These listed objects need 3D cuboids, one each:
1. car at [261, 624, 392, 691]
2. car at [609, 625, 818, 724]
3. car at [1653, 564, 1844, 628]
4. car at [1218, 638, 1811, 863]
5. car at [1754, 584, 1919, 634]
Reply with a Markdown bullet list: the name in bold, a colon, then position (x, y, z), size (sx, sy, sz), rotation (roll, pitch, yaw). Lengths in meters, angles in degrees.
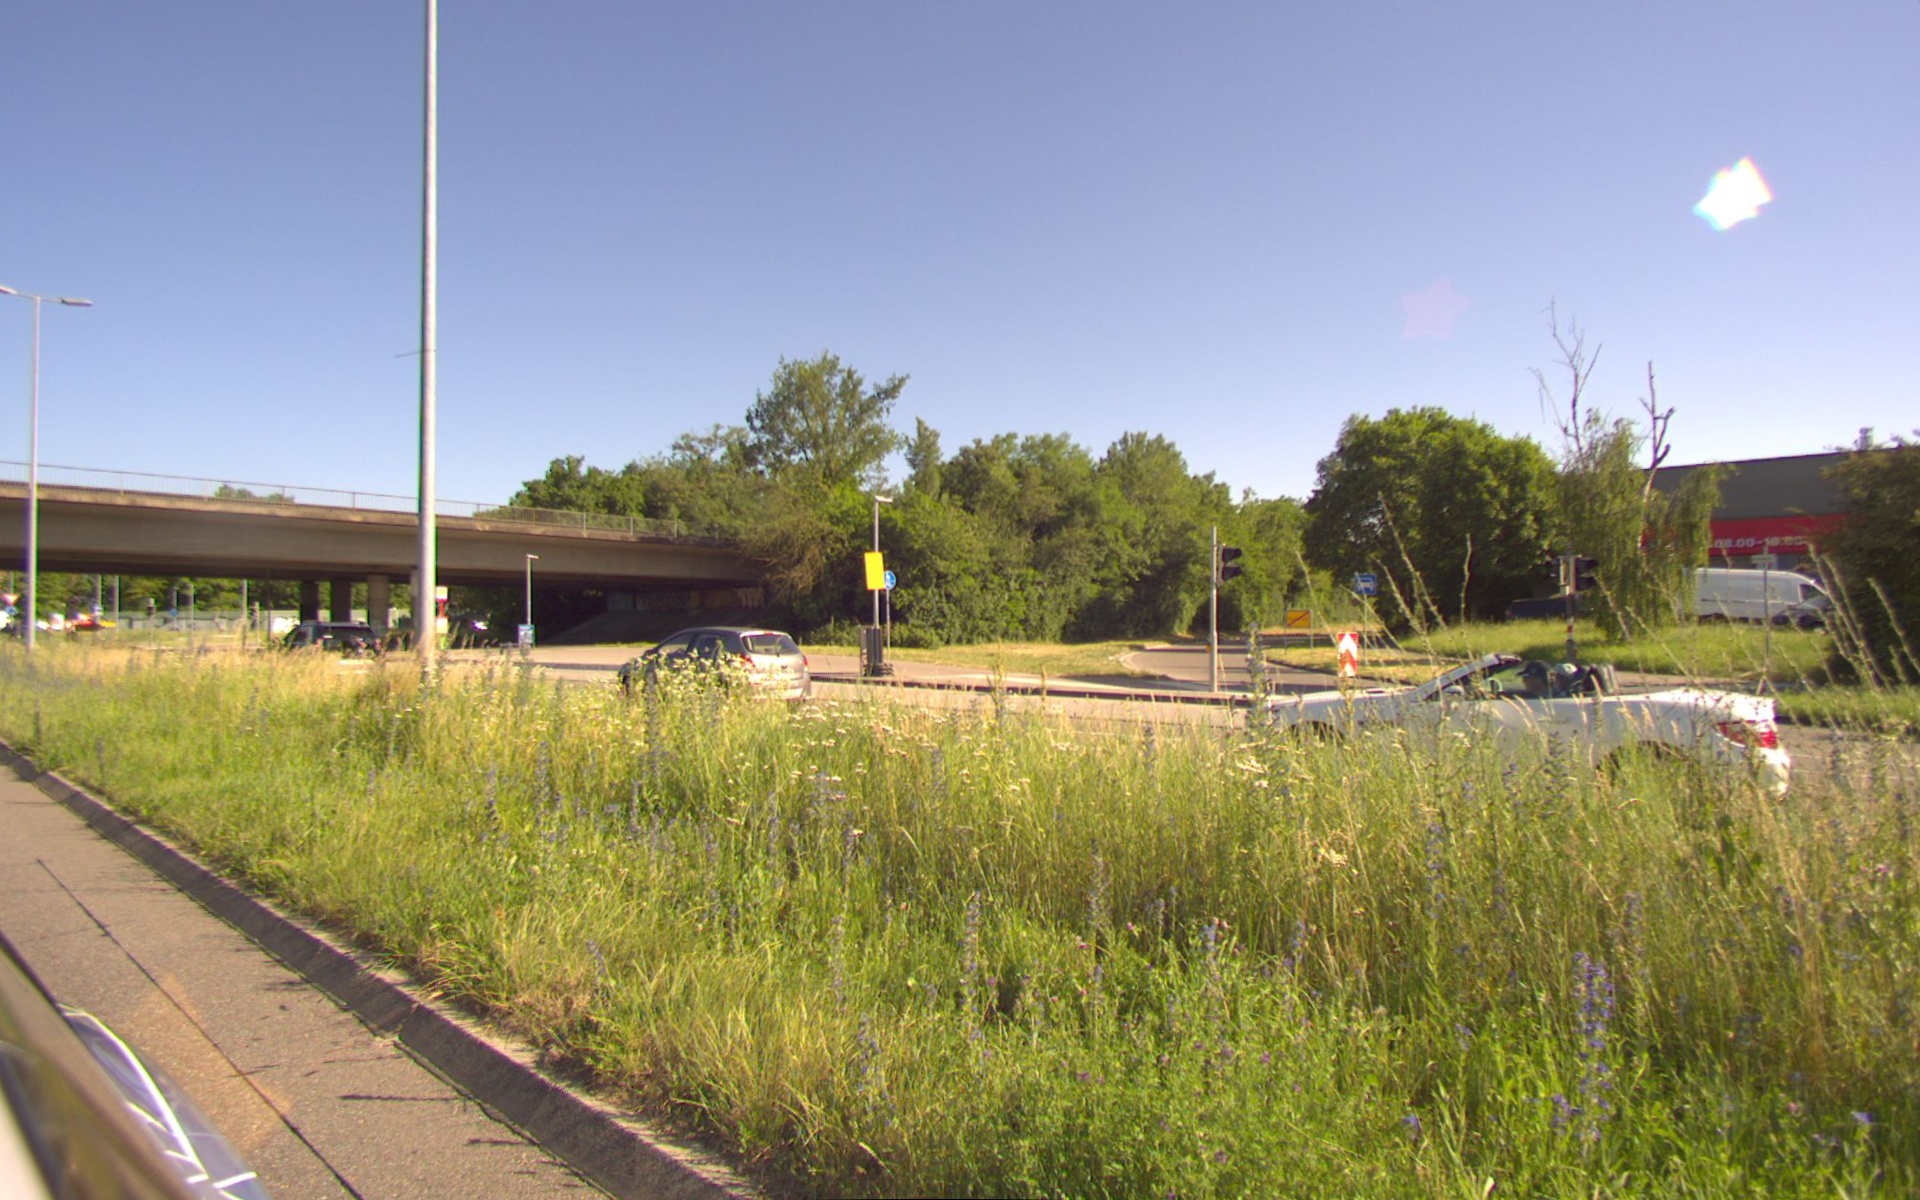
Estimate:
- **car**: position (-15.664, 1.375, 24.971), size (3.587, 1.542, 1.617), rotation (-2, -2, 38)
- **car**: position (-4.319, 1.224, 17.555), size (3.586, 1.542, 1.618), rotation (-1, -2, 36)
- **car**: position (27.866, -0.108, 35.933), size (4.990, 2.168, 1.890), rotation (-1, -2, 10)
- **car**: position (4.455, 1.064, 8.594), size (4.096, 1.455, 1.618), rotation (-1, -2, 37)
- **car**: position (27.055, 0.299, 31.266), size (4.061, 1.466, 1.901), rotation (0, -2, -16)
